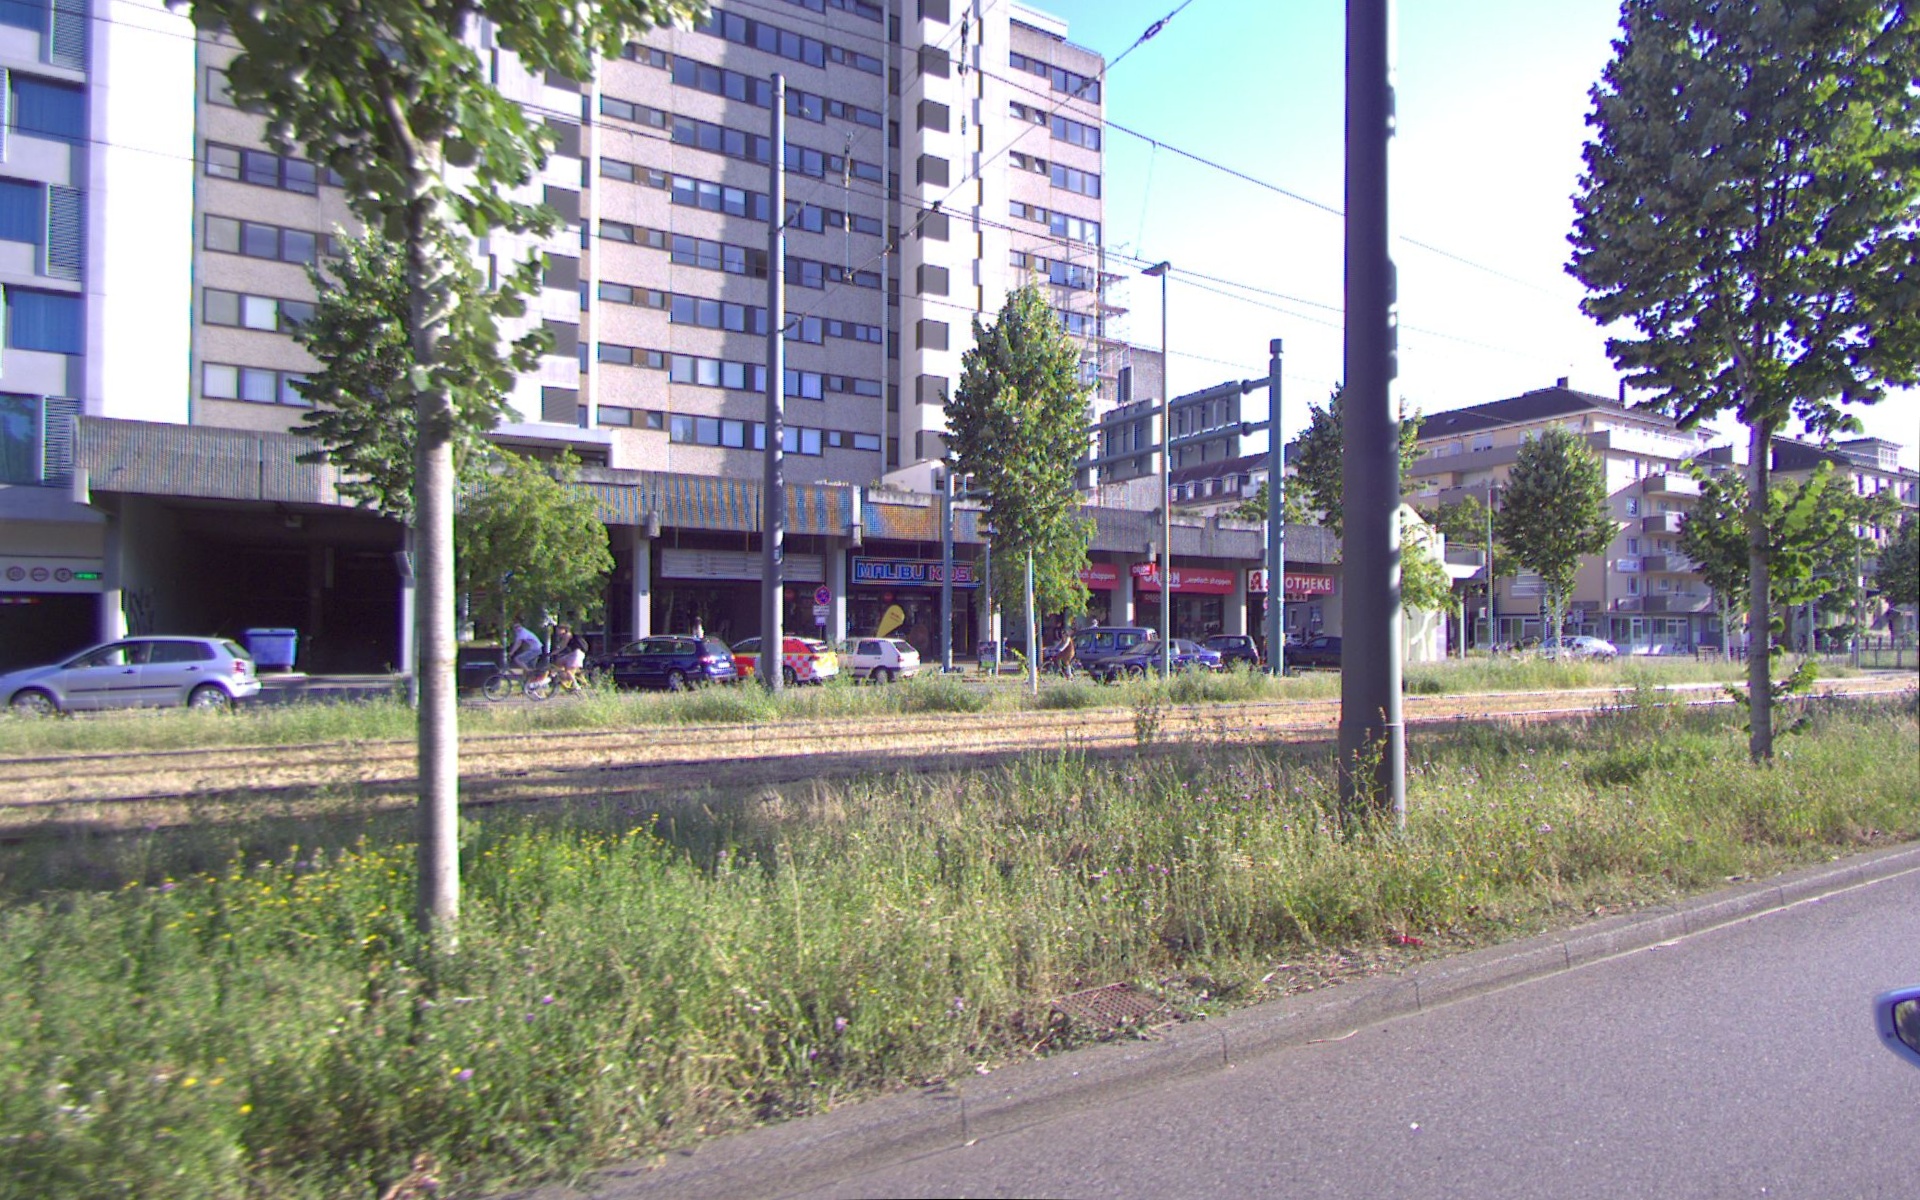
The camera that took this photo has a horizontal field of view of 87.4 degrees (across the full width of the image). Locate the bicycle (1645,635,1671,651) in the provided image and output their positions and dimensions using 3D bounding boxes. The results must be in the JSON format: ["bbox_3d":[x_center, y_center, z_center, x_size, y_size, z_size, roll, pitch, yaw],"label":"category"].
[{"bbox_3d":[51.318,3.183,73.840,2.555,1.152,0.528,1,-1,-30],"label":"bicycle"}]

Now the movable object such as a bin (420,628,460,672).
[{"bbox_3d":[-16.725,1.602,32.278,1.078,1.389,1.113,1,-2,-31],"label":"movable object such as a bin"}]

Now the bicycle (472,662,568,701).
[{"bbox_3d":[-10.632,1.949,24.297,2.079,0.874,0.434,1,-2,-32],"label":"bicycle"}]

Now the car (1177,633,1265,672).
[{"bbox_3d":[10.693,2.120,41.140,3.397,1.421,1.622,2,0,17],"label":"car"}]

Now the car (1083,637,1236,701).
[{"bbox_3d":[6.087,2.059,30.562,4.435,1.725,1.861,2,0,-30],"label":"car"}]

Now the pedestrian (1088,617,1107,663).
[{"bbox_3d":[6.170,1.787,44.996,0.647,2.040,0.545,1,-1,-30],"label":"pedestrian"}]

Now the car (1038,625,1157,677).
[{"bbox_3d":[5.113,1.872,37.423,4.114,1.713,1.621,2,0,20],"label":"car"}]

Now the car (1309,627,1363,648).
[{"bbox_3d":[31.561,3.133,84.337,1.976,1.766,3.970,1,-1,-29],"label":"car"}]

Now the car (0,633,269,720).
[{"bbox_3d":[-15.074,1.351,18.386,3.833,1.396,1.602,2,0,-30],"label":"car"}]

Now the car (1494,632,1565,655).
[{"bbox_3d":[39.461,2.982,69.686,1.825,1.516,3.969,1,-2,-30],"label":"car"}]

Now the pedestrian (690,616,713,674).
[{"bbox_3d":[-9.236,1.612,35.860,0.647,2.040,0.545,1,-1,-30],"label":"pedestrian"}]

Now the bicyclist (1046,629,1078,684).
[{"bbox_3d":[3.334,1.839,32.774,0.909,1.768,0.554,1,-2,-31],"label":"bicyclist"}]

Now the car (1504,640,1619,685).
[{"bbox_3d":[23.742,2.424,39.595,4.583,1.609,1.861,2,0,-30],"label":"car"}]

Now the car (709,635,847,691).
[{"bbox_3d":[-5.548,1.893,30.750,3.725,1.464,1.790,2,0,16],"label":"car"}]

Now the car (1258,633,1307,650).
[{"bbox_3d":[28.776,3.669,89.746,1.825,1.452,3.969,1,-2,-30],"label":"car"}]

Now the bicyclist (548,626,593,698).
[{"bbox_3d":[-9.313,1.475,24.013,0.909,1.678,0.535,1,-2,-32],"label":"bicyclist"}]

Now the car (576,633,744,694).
[{"bbox_3d":[-8.656,1.796,29.075,4.456,1.464,1.622,2,0,16],"label":"car"}]

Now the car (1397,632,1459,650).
[{"bbox_3d":[36.081,3.172,77.457,1.976,1.321,3.970,1,-2,-29],"label":"car"}]

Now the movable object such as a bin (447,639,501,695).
[{"bbox_3d":[-12.575,1.700,25.980,1.158,1.389,1.379,1,-2,-30],"label":"movable object such as a bin"}]

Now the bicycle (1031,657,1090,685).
[{"bbox_3d":[3.277,2.305,32.713,2.079,0.874,0.434,1,-2,-32],"label":"bicycle"}]

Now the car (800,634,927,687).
[{"bbox_3d":[-3.114,1.913,32.417,3.717,1.464,1.622,2,0,17],"label":"car"}]

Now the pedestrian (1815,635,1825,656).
[{"bbox_3d":[65.961,3.503,77.059,0.511,1.576,0.447,0,-1,30],"label":"pedestrian"}]

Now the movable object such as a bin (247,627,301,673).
[{"bbox_3d":[-20.651,1.484,30.274,1.219,1.351,1.379,1,-2,-31],"label":"movable object such as a bin"}]

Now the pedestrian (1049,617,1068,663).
[{"bbox_3d":[4.443,1.803,45.309,0.647,2.040,0.545,1,-1,-30],"label":"pedestrian"}]

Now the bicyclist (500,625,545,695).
[{"bbox_3d":[-10.583,1.440,24.306,0.909,1.678,0.535,1,-2,-32],"label":"bicyclist"}]

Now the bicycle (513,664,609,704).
[{"bbox_3d":[-9.486,1.978,23.924,2.079,0.874,0.434,1,-2,-32],"label":"bicycle"}]

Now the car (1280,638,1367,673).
[{"bbox_3d":[15.458,2.360,42.860,3.397,1.291,1.622,2,0,17],"label":"car"}]

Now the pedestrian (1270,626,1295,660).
[{"bbox_3d":[15.819,2.112,49.273,0.872,1.661,0.771,1,-1,-30],"label":"pedestrian"}]
